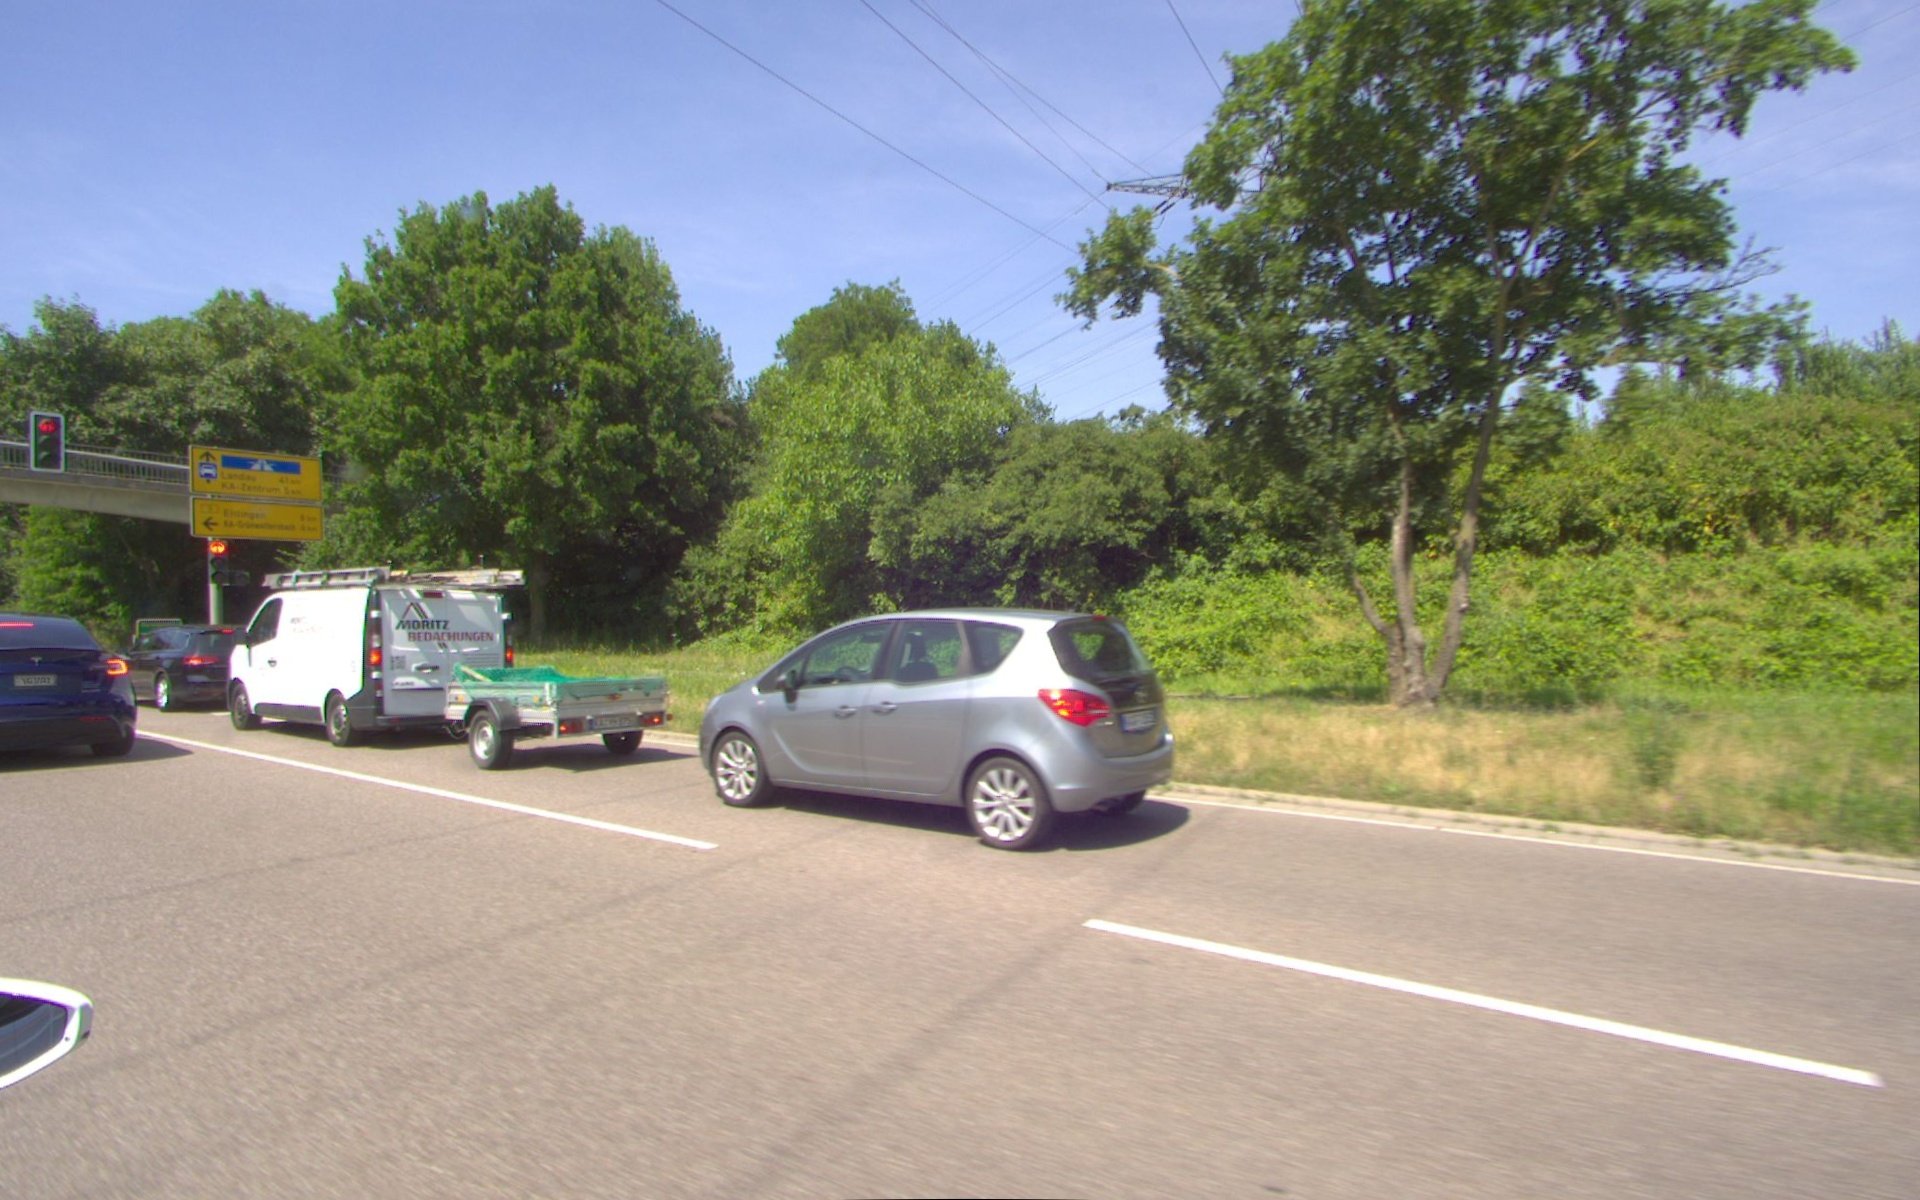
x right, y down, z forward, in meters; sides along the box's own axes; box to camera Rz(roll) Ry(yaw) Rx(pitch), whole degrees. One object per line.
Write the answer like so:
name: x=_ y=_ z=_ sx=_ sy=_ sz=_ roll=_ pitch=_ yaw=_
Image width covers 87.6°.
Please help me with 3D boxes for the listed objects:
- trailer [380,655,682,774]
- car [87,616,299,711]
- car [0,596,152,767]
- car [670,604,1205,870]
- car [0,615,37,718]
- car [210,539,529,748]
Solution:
trailer: x=-4.857 y=1.188 z=11.240 sx=3.280 sy=1.019 sz=1.701 roll=0 pitch=-1 yaw=36
car: x=-13.803 y=1.049 z=17.942 sx=4.323 sy=1.497 sz=1.895 roll=0 pitch=-2 yaw=37
car: x=-11.005 y=0.819 z=11.283 sx=4.461 sy=1.665 sz=1.895 roll=0 pitch=-2 yaw=37
car: x=-0.317 y=0.856 z=8.041 sx=4.111 sy=1.616 sz=1.759 roll=0 pitch=0 yaw=37
car: x=-15.757 y=0.958 z=15.184 sx=3.887 sy=1.497 sz=1.895 roll=0 pitch=-2 yaw=36
car: x=-8.193 y=0.545 z=13.701 sx=5.008 sy=2.379 sz=1.927 roll=-1 pitch=-1 yaw=36
